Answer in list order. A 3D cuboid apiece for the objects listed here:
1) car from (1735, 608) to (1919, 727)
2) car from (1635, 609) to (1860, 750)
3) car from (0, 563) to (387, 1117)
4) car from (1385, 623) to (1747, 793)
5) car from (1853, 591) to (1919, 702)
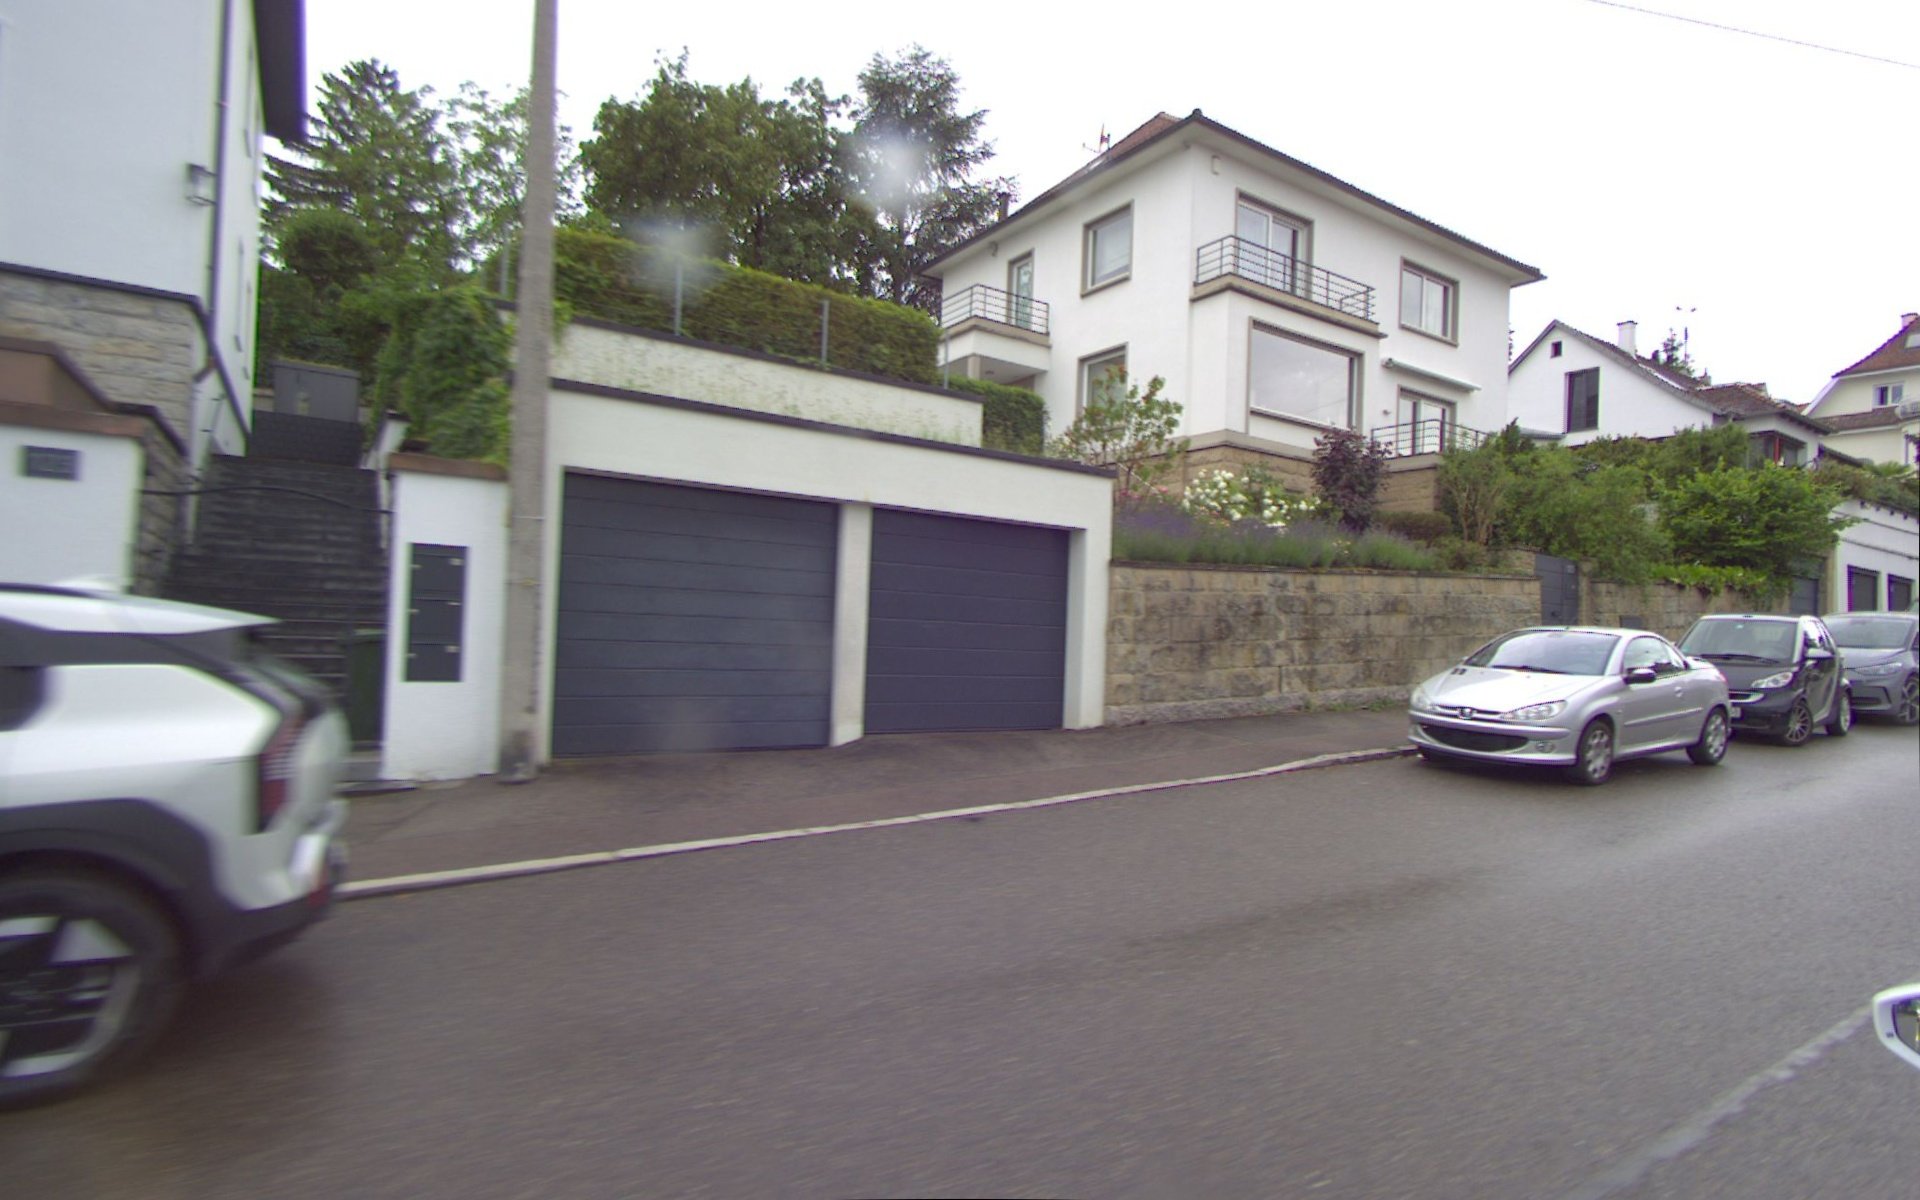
[{"bbox_3d":[13.891,0.933,15.359,4.295,1.535,1.887,1,1,-33],"label":"car"},{"bbox_3d":[9.991,0.901,12.695,3.129,1.544,1.486,1,0,-37],"label":"car"},{"bbox_3d":[-4.205,0.683,3.063,4.192,1.588,1.887,1,-1,-33],"label":"car"},{"bbox_3d":[6.141,0.938,10.076,3.799,1.355,1.600,1,1,-33],"label":"car"},{"bbox_3d":[18.724,0.834,18.631,5.541,1.885,2.114,1,1,-37],"label":"car"}]
